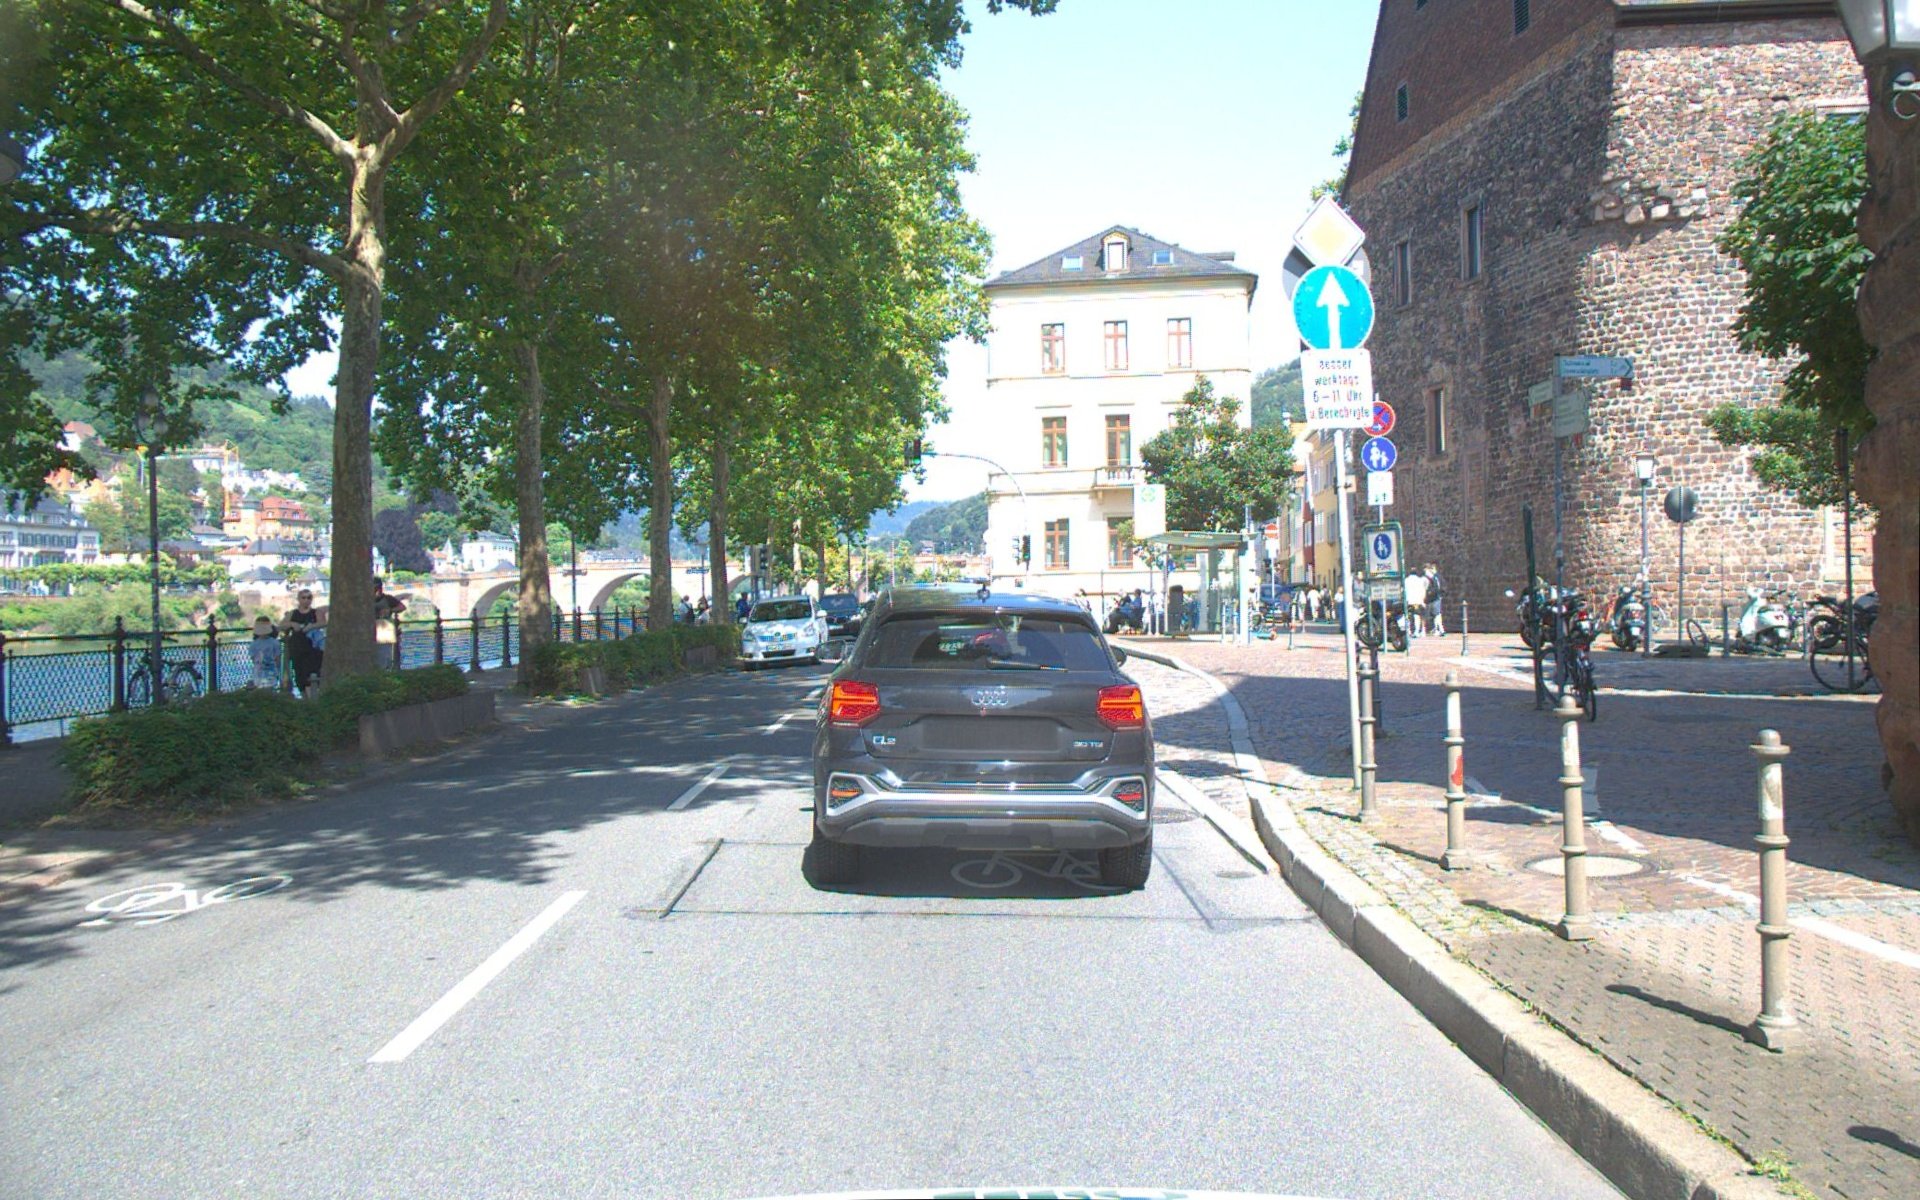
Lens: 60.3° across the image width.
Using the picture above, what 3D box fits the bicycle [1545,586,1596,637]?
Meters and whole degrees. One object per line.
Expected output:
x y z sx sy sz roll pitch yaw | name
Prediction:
14.875 0.280 40.352 0.381 1.230 1.715 1 -1 -9 | bicycle

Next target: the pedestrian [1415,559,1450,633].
12.700 -0.101 44.479 0.655 1.954 0.821 1 -1 -2 | pedestrian

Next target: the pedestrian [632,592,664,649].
-10.295 0.673 54.665 0.891 1.843 0.586 1 -1 3 | pedestrian

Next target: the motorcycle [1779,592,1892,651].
16.559 0.403 31.307 1.826 1.072 0.480 1 -1 7 | motorcycle

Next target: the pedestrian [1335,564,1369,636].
10.548 0.005 44.553 0.732 1.923 0.752 1 -1 1 | pedestrian

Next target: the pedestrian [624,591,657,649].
-10.388 0.652 53.827 0.891 1.877 0.586 1 -1 3 | pedestrian

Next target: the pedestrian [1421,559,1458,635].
13.150 -0.087 45.362 0.715 2.049 0.878 1 -1 -1 | pedestrian

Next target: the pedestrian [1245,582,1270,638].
7.651 0.261 42.511 0.546 1.409 0.588 1 -1 1 | pedestrian

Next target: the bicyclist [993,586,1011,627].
1.517 0.248 59.869 0.593 1.475 0.590 1 -1 -6 | bicyclist

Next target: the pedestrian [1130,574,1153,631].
6.656 0.094 60.603 0.626 2.049 0.664 0 -1 29 | pedestrian

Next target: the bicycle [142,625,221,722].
-9.526 0.885 20.270 0.352 1.110 1.295 2 0 -2 | bicycle

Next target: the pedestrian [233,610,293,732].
-8.101 0.813 19.232 0.469 1.386 0.417 2 0 3 | pedestrian

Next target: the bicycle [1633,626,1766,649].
12.357 0.628 27.703 1.887 0.388 0.918 0 -1 14 | bicycle

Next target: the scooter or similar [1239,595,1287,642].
7.183 0.437 39.230 1.067 1.084 0.323 1 -1 -3 | scooter or similar

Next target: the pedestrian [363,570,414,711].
-7.928 0.556 22.963 0.523 1.920 0.436 1 0 -1 | pedestrian

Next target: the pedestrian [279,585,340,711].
-8.978 0.653 22.838 0.589 1.715 0.583 -1 0 -2 | pedestrian

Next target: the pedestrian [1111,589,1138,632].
4.770 0.312 47.914 0.651 1.233 0.640 1 -1 -7 | pedestrian

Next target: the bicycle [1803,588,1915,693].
10.650 0.453 19.649 0.437 1.182 1.731 -1 0 2 | bicycle

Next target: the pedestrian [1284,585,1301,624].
13.319 0.192 66.243 0.609 1.559 0.466 1 -1 2 | pedestrian

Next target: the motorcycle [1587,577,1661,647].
12.306 0.226 30.713 0.535 1.257 2.030 1 -1 -1 | motorcycle

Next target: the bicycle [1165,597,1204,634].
6.622 0.463 48.822 1.184 1.053 0.178 1 -1 -20 | bicycle

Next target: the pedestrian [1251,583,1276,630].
13.611 0.293 74.156 0.925 2.049 0.807 1 -1 -1 | pedestrian

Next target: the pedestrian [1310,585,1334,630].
16.774 0.334 76.680 0.921 2.049 0.807 1 -1 -1 | pedestrian

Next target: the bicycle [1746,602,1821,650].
15.129 0.459 30.431 0.346 0.835 1.925 1 1 -2 | bicycle

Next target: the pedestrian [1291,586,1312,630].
15.849 0.376 76.745 0.822 2.049 0.738 1 -1 -1 | pedestrian

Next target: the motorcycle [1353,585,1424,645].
7.767 0.253 30.075 0.555 1.030 2.489 -1 0 -2 | motorcycle

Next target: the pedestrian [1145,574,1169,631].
7.156 0.080 60.046 0.626 2.049 0.664 0 -1 29 | pedestrian

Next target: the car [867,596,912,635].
-3.442 0.752 81.433 1.952 1.838 4.000 1 -1 1 | car

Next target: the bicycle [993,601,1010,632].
1.506 0.588 59.797 0.428 1.105 1.675 1 -1 -5 | bicycle

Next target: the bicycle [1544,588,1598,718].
6.140 0.498 16.668 0.189 1.225 1.771 0 1 10 | bicycle

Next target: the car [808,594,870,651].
-4.290 0.752 59.095 1.777 1.754 4.421 -6 0 -1 | car

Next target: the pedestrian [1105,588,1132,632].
4.662 0.293 48.692 0.651 1.253 0.640 1 -1 -7 | pedestrian

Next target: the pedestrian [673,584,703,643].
-9.467 0.470 57.595 0.891 2.049 0.586 1 -1 3 | pedestrian

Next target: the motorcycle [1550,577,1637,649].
11.536 0.246 30.205 0.661 1.257 2.312 1 -1 -1 | motorcycle

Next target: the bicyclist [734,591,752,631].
-7.287 0.386 55.643 0.555 1.334 0.551 1 -1 -5 | bicyclist

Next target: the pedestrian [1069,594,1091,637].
4.251 0.545 58.459 0.679 1.527 0.513 1 -1 -5 | pedestrian

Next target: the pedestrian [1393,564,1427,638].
11.929 0.030 43.856 0.655 1.917 0.821 1 -1 -2 | pedestrian

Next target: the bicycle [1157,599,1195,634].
6.458 0.504 49.478 1.166 1.033 0.178 1 -1 -20 | bicycle

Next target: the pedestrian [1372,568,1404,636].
11.761 0.059 45.427 0.639 1.834 0.847 0 0 -2 | pedestrian

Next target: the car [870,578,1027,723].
-0.154 0.575 20.553 1.756 1.623 3.398 1 0 -1 | car

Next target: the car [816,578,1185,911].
0.167 0.668 9.587 1.707 1.535 3.646 1 0 -1 | car

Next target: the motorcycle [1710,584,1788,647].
14.047 0.275 29.493 0.496 1.092 1.839 1 -1 -1 | motorcycle

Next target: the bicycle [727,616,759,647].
-7.290 1.059 55.615 1.072 1.024 0.303 1 -1 -8 | bicycle

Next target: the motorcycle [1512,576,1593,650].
10.691 0.241 29.919 0.642 1.288 2.199 0 -1 -1 | motorcycle

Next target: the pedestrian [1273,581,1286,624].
12.804 0.120 66.258 0.440 1.710 0.466 1 -1 1 | pedestrian

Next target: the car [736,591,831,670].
-4.023 0.664 38.330 1.703 1.599 4.091 -4 0 -1 | car
